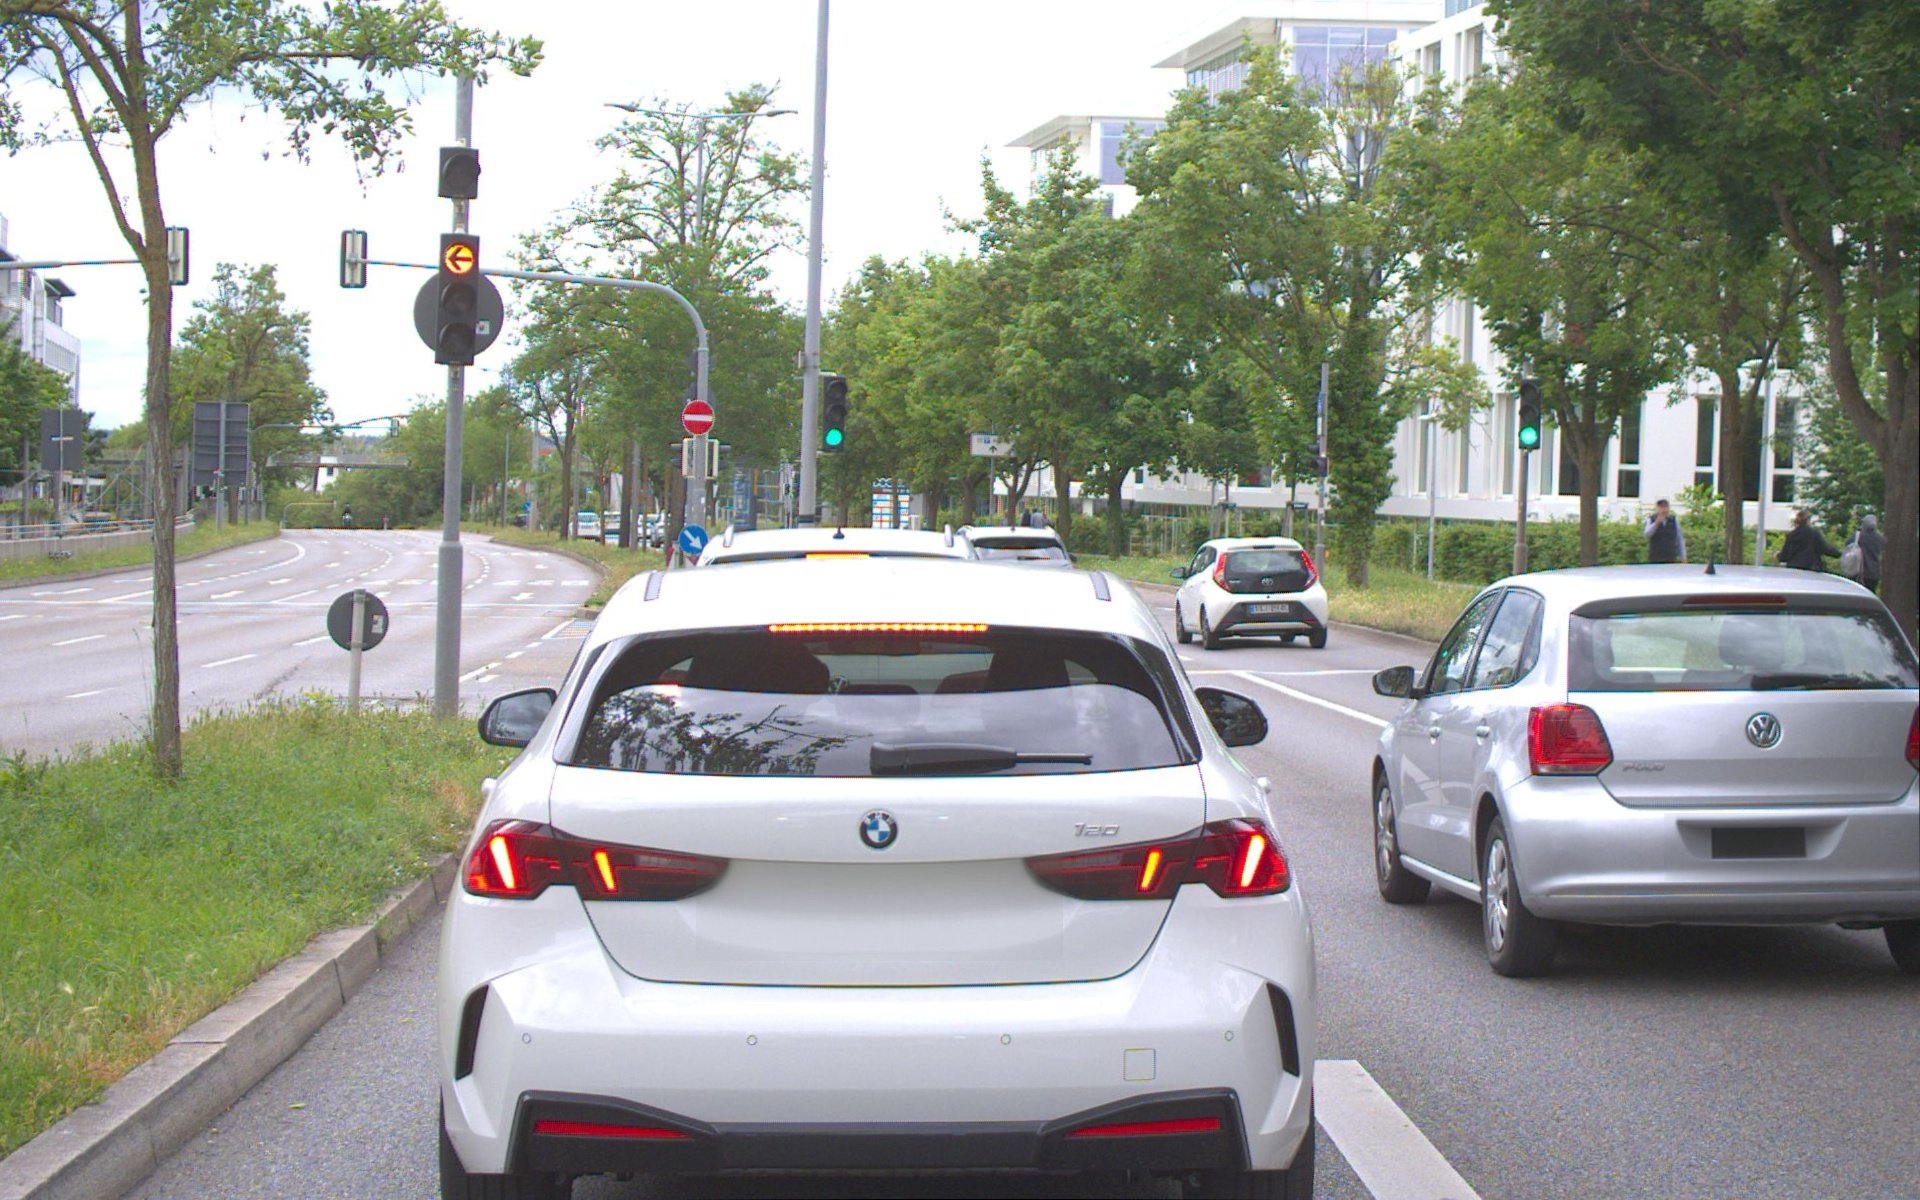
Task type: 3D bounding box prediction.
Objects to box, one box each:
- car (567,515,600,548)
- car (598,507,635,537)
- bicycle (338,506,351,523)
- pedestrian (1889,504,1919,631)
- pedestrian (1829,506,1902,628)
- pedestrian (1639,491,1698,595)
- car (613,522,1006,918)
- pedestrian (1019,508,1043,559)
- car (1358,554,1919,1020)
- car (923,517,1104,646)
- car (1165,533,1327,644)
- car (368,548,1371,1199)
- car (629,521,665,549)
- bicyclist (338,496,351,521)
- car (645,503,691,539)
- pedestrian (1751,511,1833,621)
[{"bbox_3d":[-20.358,-3.711,185.795,1.695,1.711,4.001,1,1,-7],"label":"car"},{"bbox_3d":[-21.084,-4.772,211.079,1.993,1.726,4.001,1,1,-10],"label":"car"},{"bbox_3d":[-41.963,-5.828,234.318,0.810,1.100,2.557,1,1,-10],"label":"bicycle"},{"bbox_3d":[12.917,-0.429,45.842,0.767,1.679,0.883,1,0,-1],"label":"pedestrian"},{"bbox_3d":[12.043,-0.440,45.738,0.699,1.590,0.883,1,0,-1],"label":"pedestrian"},{"bbox_3d":[10.837,-0.873,52.598,0.741,1.568,0.674,1,0,-1],"label":"pedestrian"},{"bbox_3d":[-0.630,0.447,15.858,1.549,1.563,4.000,1,1,-1],"label":"car"},{"bbox_3d":[2.834,-2.629,136.806,0.762,2.007,0.754,1,0,-15],"label":"pedestrian"},{"bbox_3d":[2.587,0.588,12.990,1.605,1.463,3.676,1,1,-2],"label":"car"},{"bbox_3d":[0.652,-0.272,45.503,1.891,1.590,4.314,1,1,-5],"label":"car"},{"bbox_3d":[3.779,-0.178,45.874,1.653,1.420,3.536,0,1,-4],"label":"car"},{"bbox_3d":[-0.193,0.618,8.340,1.822,1.433,4.000,1,1,-1],"label":"car"},{"bbox_3d":[-17.065,-3.559,187.247,1.692,1.481,3.694,1,1,-9],"label":"car"},{"bbox_3d":[-41.969,-6.224,234.383,0.810,1.647,1.189,1,0,-10],"label":"bicyclist"},{"bbox_3d":[-13.831,-3.728,162.789,1.993,1.664,4.001,-1,1,-8],"label":"car"},{"bbox_3d":[11.146,-0.456,46.073,0.789,1.443,1.112,1,0,-1],"label":"pedestrian"}]
